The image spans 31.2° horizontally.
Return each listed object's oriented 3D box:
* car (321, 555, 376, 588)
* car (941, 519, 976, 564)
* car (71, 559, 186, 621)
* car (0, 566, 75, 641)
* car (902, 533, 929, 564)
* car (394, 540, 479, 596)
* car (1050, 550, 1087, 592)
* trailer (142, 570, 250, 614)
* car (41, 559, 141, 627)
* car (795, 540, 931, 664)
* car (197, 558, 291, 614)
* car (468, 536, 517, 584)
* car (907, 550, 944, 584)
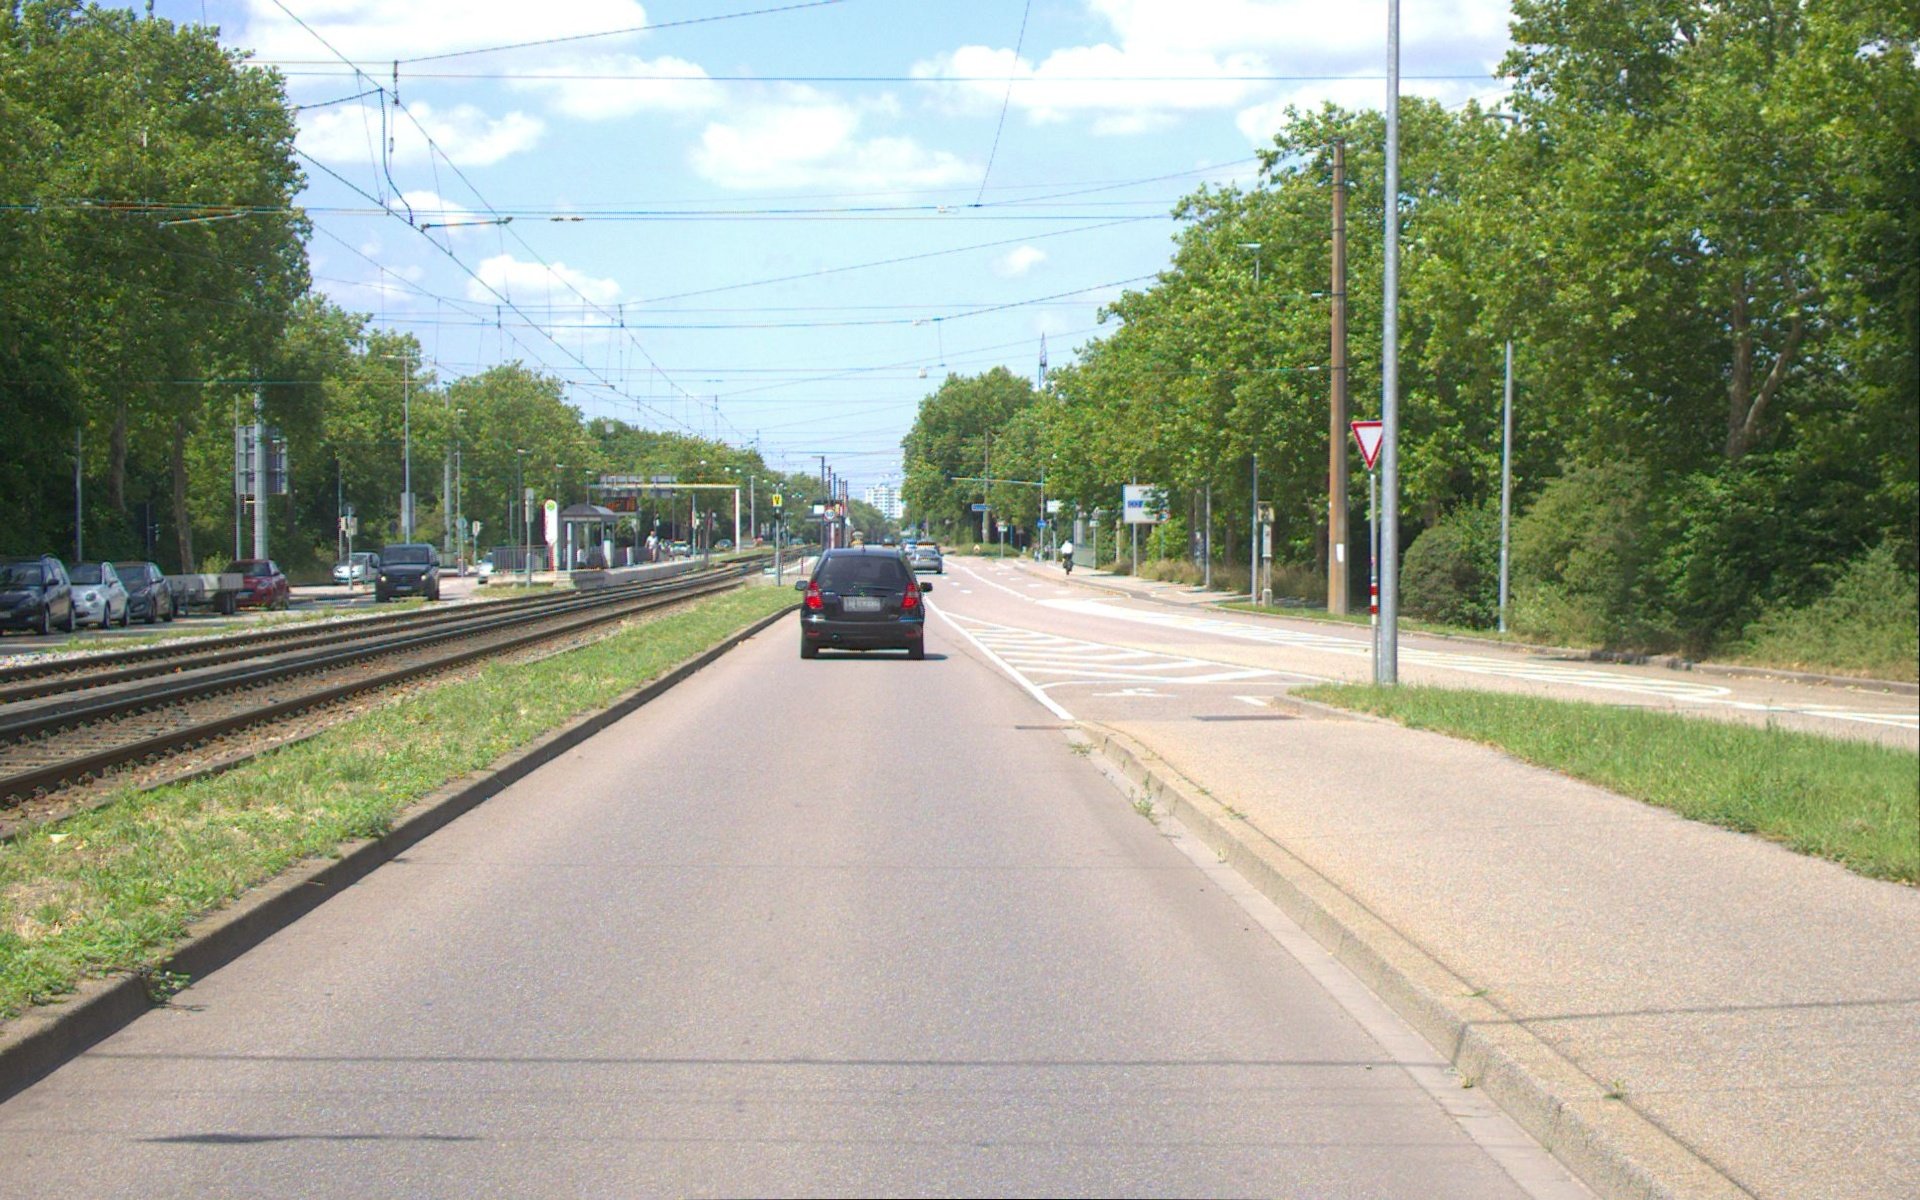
[{"bbox_3d":[-29.451,-1.376,165.610,1.993,1.568,4.000,1,1,-1],"label":"car"},{"bbox_3d":[-0.125,-3.566,208.657,1.993,2.565,4.001,2,2,-1],"label":"car"},{"bbox_3d":[-19.723,-0.261,81.697,1.870,1.396,4.419,1,1,-3],"label":"car"},{"bbox_3d":[-19.073,0.050,69.704,1.433,1.446,3.922,1,1,-3],"label":"car"},{"bbox_3d":[-3.086,-3.580,238.190,1.786,2.006,4.001,2,2,-1],"label":"car"},{"bbox_3d":[-17.239,-1.066,113.505,2.117,1.784,5.406,1,1,-2],"label":"car"},{"bbox_3d":[5.444,-1.473,173.238,1.612,2.006,3.440,2,2,-2],"label":"car"},{"bbox_3d":[-20.132,-0.227,90.754,1.892,1.040,5.104,2,1,-3],"label":"trailer"},{"bbox_3d":[-19.194,-0.172,76.076,1.433,1.446,3.741,1,1,-3],"label":"car"},{"bbox_3d":[-1.366,-0.016,49.952,1.853,1.564,4.389,1,3,0],"label":"car"},{"bbox_3d":[-20.772,-0.429,99.879,1.993,1.568,4.000,1,1,-2],"label":"car"},{"bbox_3d":[-20.851,-1.800,153.452,1.993,2.006,4.001,1,2,-6],"label":"car"},{"bbox_3d":[-1.855,-1.825,186.835,1.885,1.634,4.000,4,2,0],"label":"car"}]
